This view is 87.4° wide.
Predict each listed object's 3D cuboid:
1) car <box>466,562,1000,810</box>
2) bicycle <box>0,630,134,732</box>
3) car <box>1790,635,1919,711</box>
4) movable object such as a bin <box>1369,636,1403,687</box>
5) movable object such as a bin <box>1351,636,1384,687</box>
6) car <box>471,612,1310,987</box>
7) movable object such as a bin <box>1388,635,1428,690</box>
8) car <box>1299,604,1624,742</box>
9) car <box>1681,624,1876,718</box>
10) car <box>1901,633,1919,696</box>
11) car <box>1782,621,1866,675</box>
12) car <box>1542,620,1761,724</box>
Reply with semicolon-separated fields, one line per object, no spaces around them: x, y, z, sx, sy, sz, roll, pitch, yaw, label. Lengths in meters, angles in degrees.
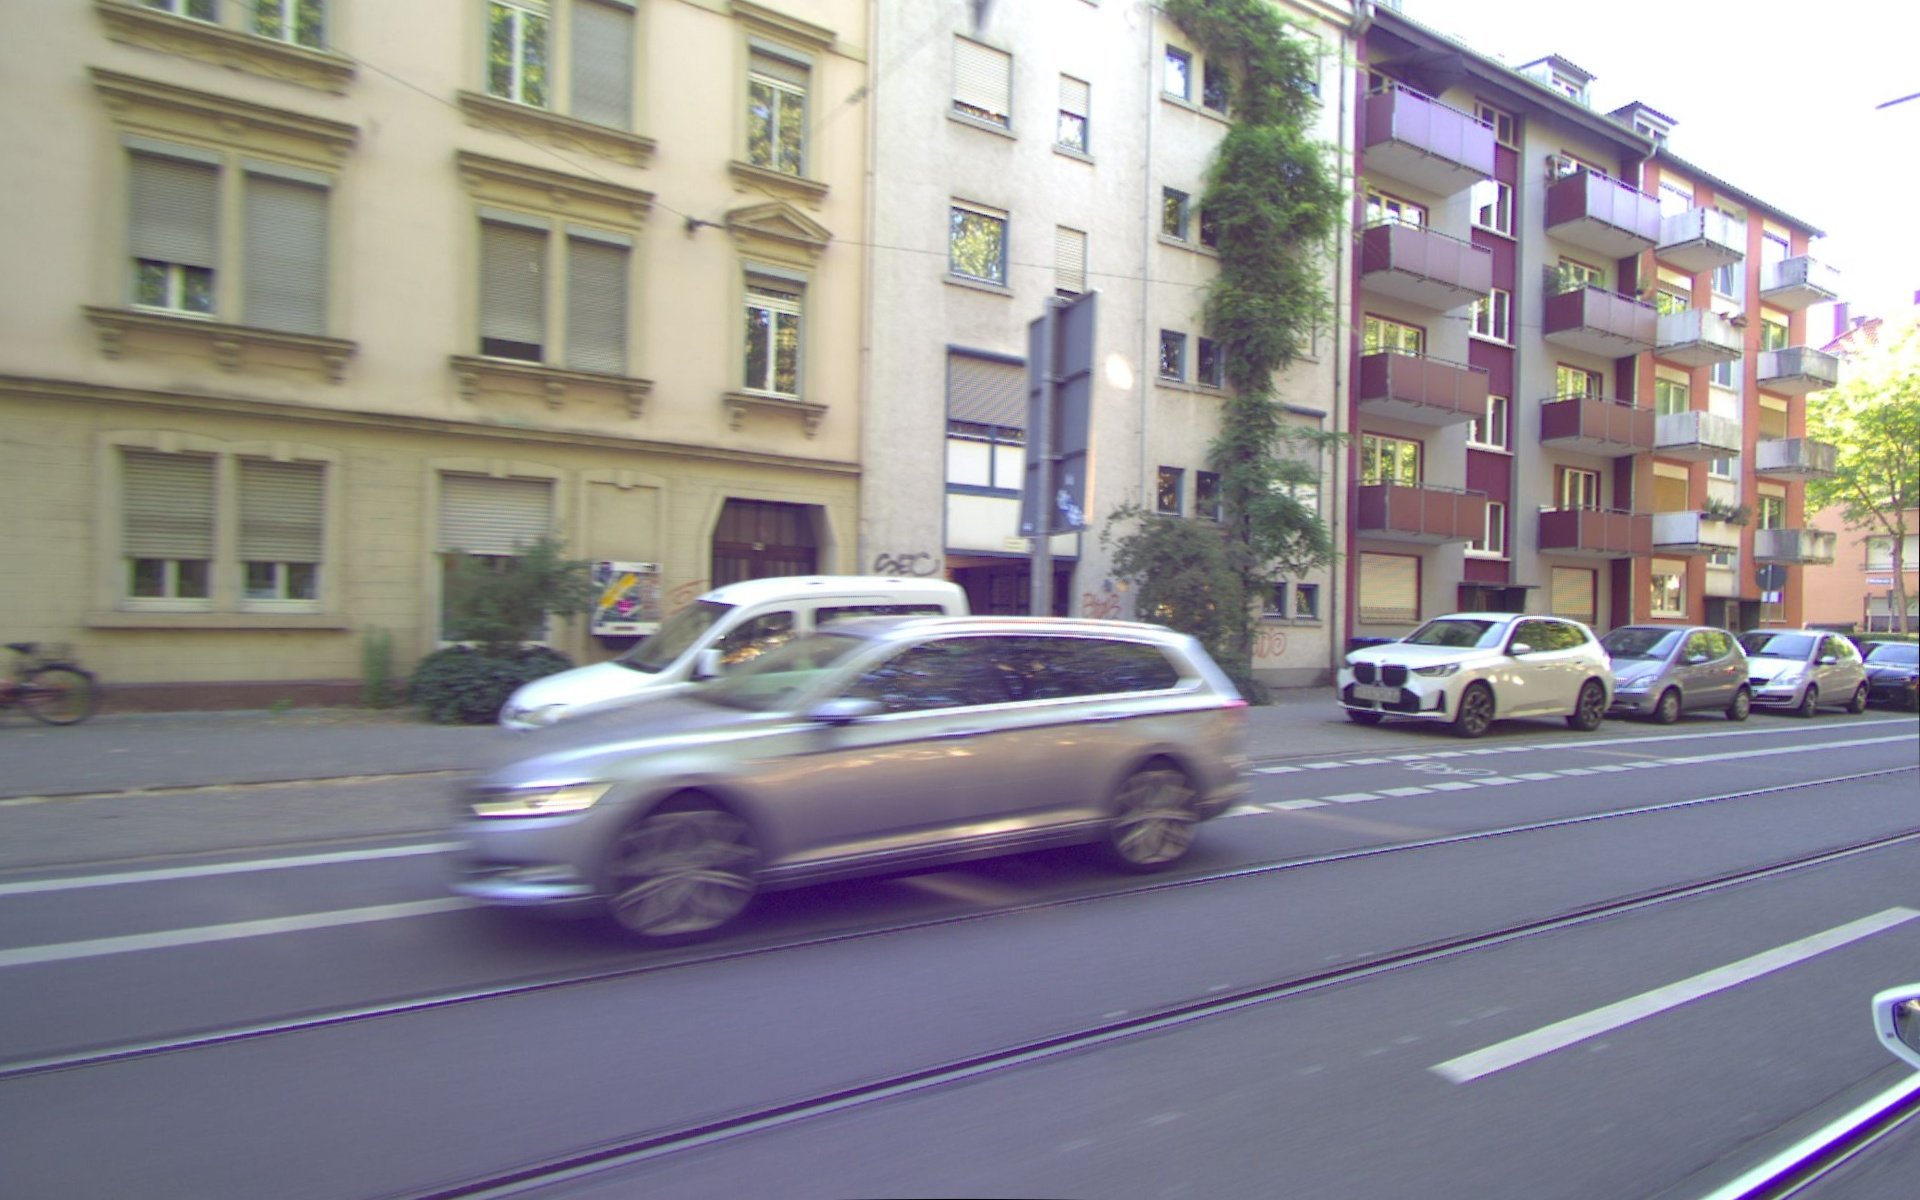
-1.961;0.643;9.212;4.424;1.794;1.778;1;1;-34;car
-9.903;0.817;10.288;2.105;0.984;0.646;1;1;-20;bicycle
20.745;1.566;22.306;4.804;1.414;1.943;2;2;-30;car
9.105;1.304;21.448;0.486;1.069;0.458;1;0;-30;movable object such as a bin
8.855;1.323;21.839;0.486;1.069;0.458;1;0;-30;movable object such as a bin
-0.216;0.835;5.931;4.663;1.465;1.786;1;-1;-32;car
9.373;1.301;21.006;0.492;1.114;0.576;1;0;-30;movable object such as a bin
7.357;0.989;14.608;4.827;1.670;1.942;2;1;-32;car
16.140;1.334;19.775;3.962;1.608;1.809;2;0;-33;car
25.256;1.644;24.963;3.886;1.503;1.716;2;1;-32;car
37.579;2.043;43.800;1.965;2.151;4.713;2;-1;31;car
11.903;1.196;17.259;3.735;1.592;1.619;2;-1;-29;car
